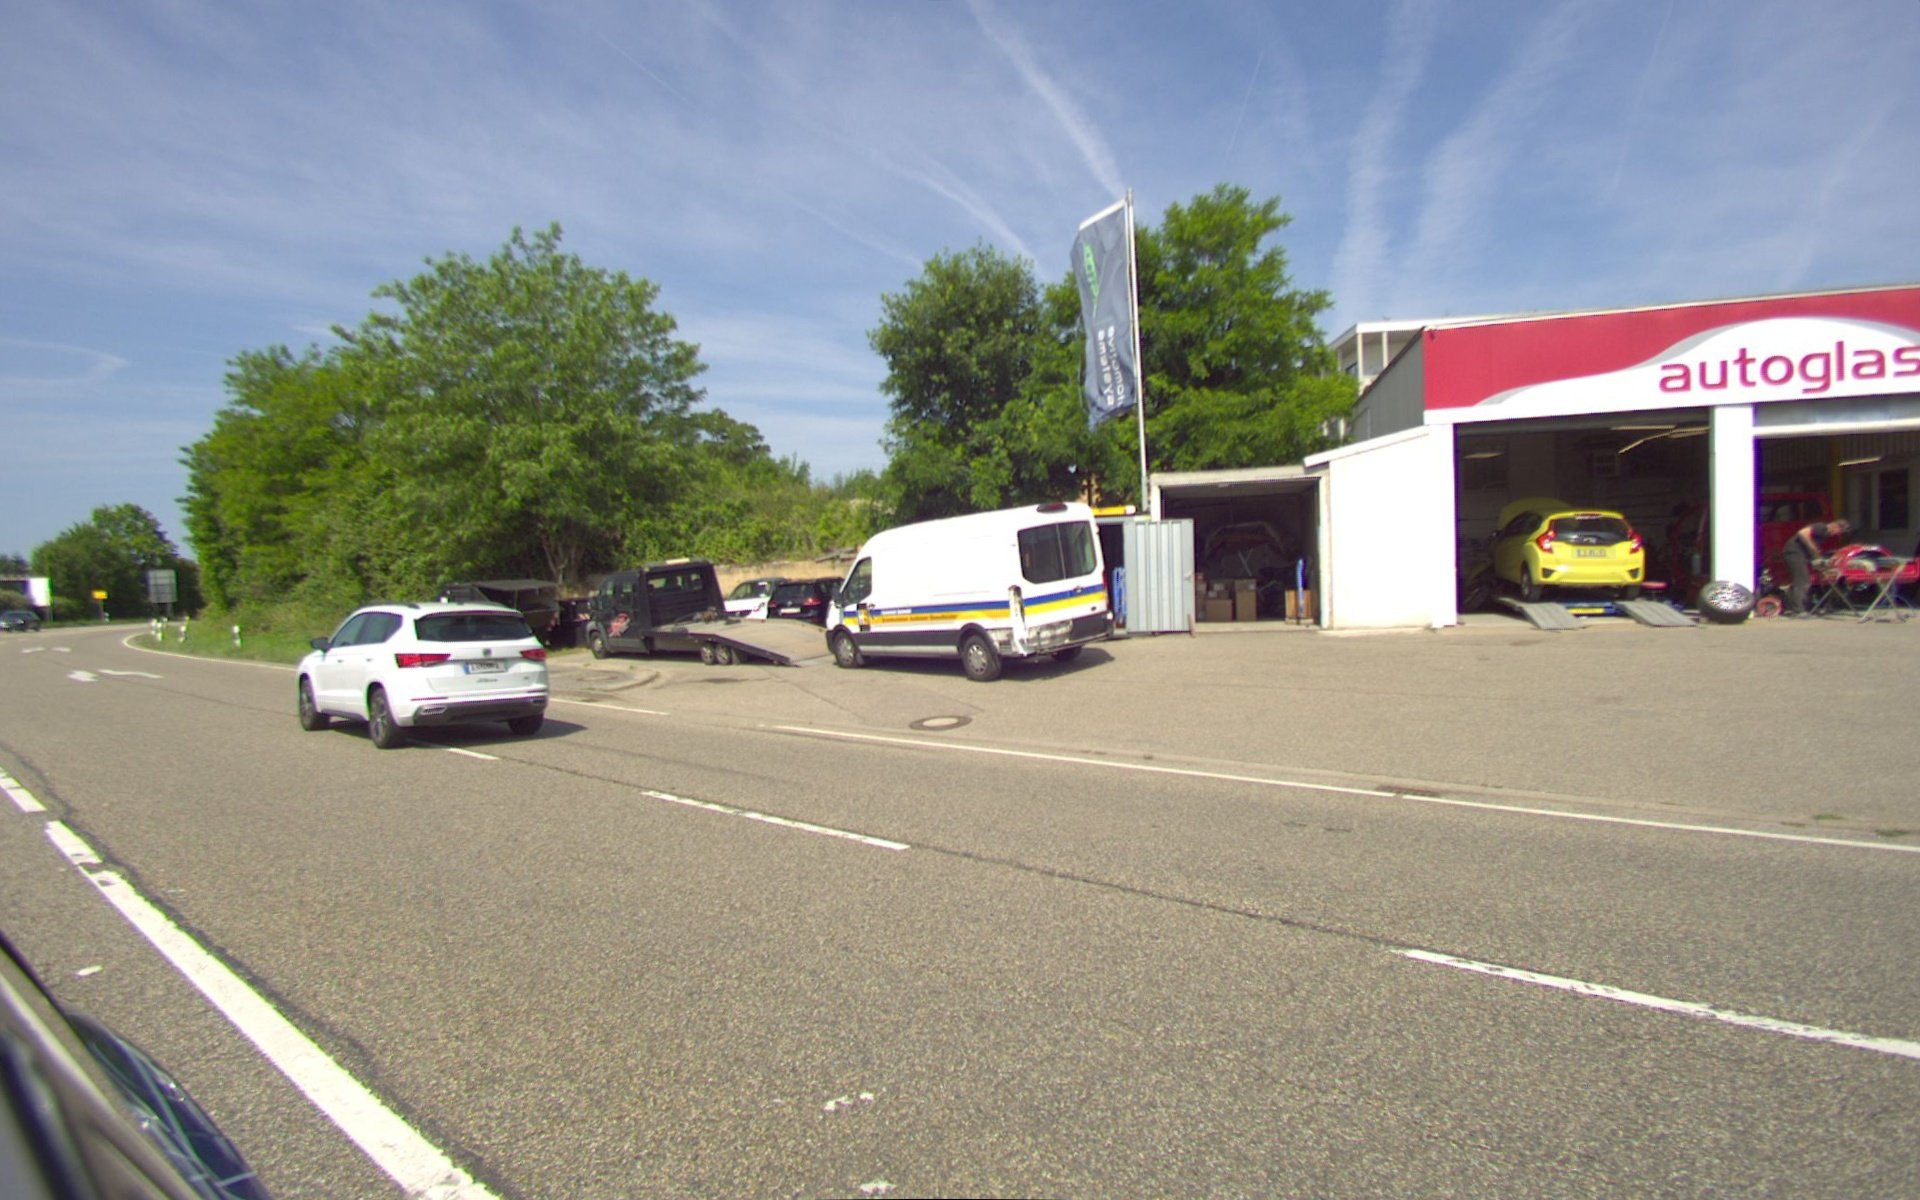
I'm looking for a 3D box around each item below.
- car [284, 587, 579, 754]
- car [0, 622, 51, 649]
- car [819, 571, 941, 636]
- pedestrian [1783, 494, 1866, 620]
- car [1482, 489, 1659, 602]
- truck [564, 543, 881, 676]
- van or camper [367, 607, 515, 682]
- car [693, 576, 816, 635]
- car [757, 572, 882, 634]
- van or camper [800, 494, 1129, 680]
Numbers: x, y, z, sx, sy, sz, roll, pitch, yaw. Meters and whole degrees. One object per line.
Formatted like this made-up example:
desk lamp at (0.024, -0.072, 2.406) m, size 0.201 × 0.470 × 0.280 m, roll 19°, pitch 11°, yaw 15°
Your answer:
car at (-6.514, 0.752, 12.297) m, size 3.999 × 1.687 × 1.915 m, roll -1°, pitch -1°, yaw 42°
car at (-65.062, 2.434, 69.738) m, size 1.837 × 1.653 × 4.435 m, roll -2°, pitch 1°, yaw -17°
car at (-1.956, 0.049, 25.782) m, size 1.726 × 1.480 × 3.647 m, roll -2°, pitch 1°, yaw 20°
pedestrian at (12.646, -0.616, 14.824) m, size 0.894 × 1.775 × 0.715 m, roll -1°, pitch 1°, yaw 41°
car at (10.759, -0.996, 18.126) m, size 1.723 × 1.737 × 3.655 m, roll -2°, pitch 4°, yaw 15°
truck at (-5.659, 0.204, 22.720) m, size 8.804 × 2.313 × 2.306 m, roll -1°, pitch 5°, yaw 44°
van or camper at (-12.346, 0.999, 23.949) m, size 4.467 × 1.535 × 1.622 m, roll -1°, pitch 2°, yaw 43°
car at (-5.675, 0.110, 28.377) m, size 1.726 × 1.480 × 3.647 m, roll -2°, pitch 1°, yaw 20°
car at (-3.626, 0.033, 26.699) m, size 1.726 × 1.480 × 3.647 m, roll -2°, pitch 1°, yaw 20°
van or camper at (-0.184, -0.214, 17.002) m, size 2.127 × 2.517 × 5.962 m, roll -7°, pitch 4°, yaw -38°
